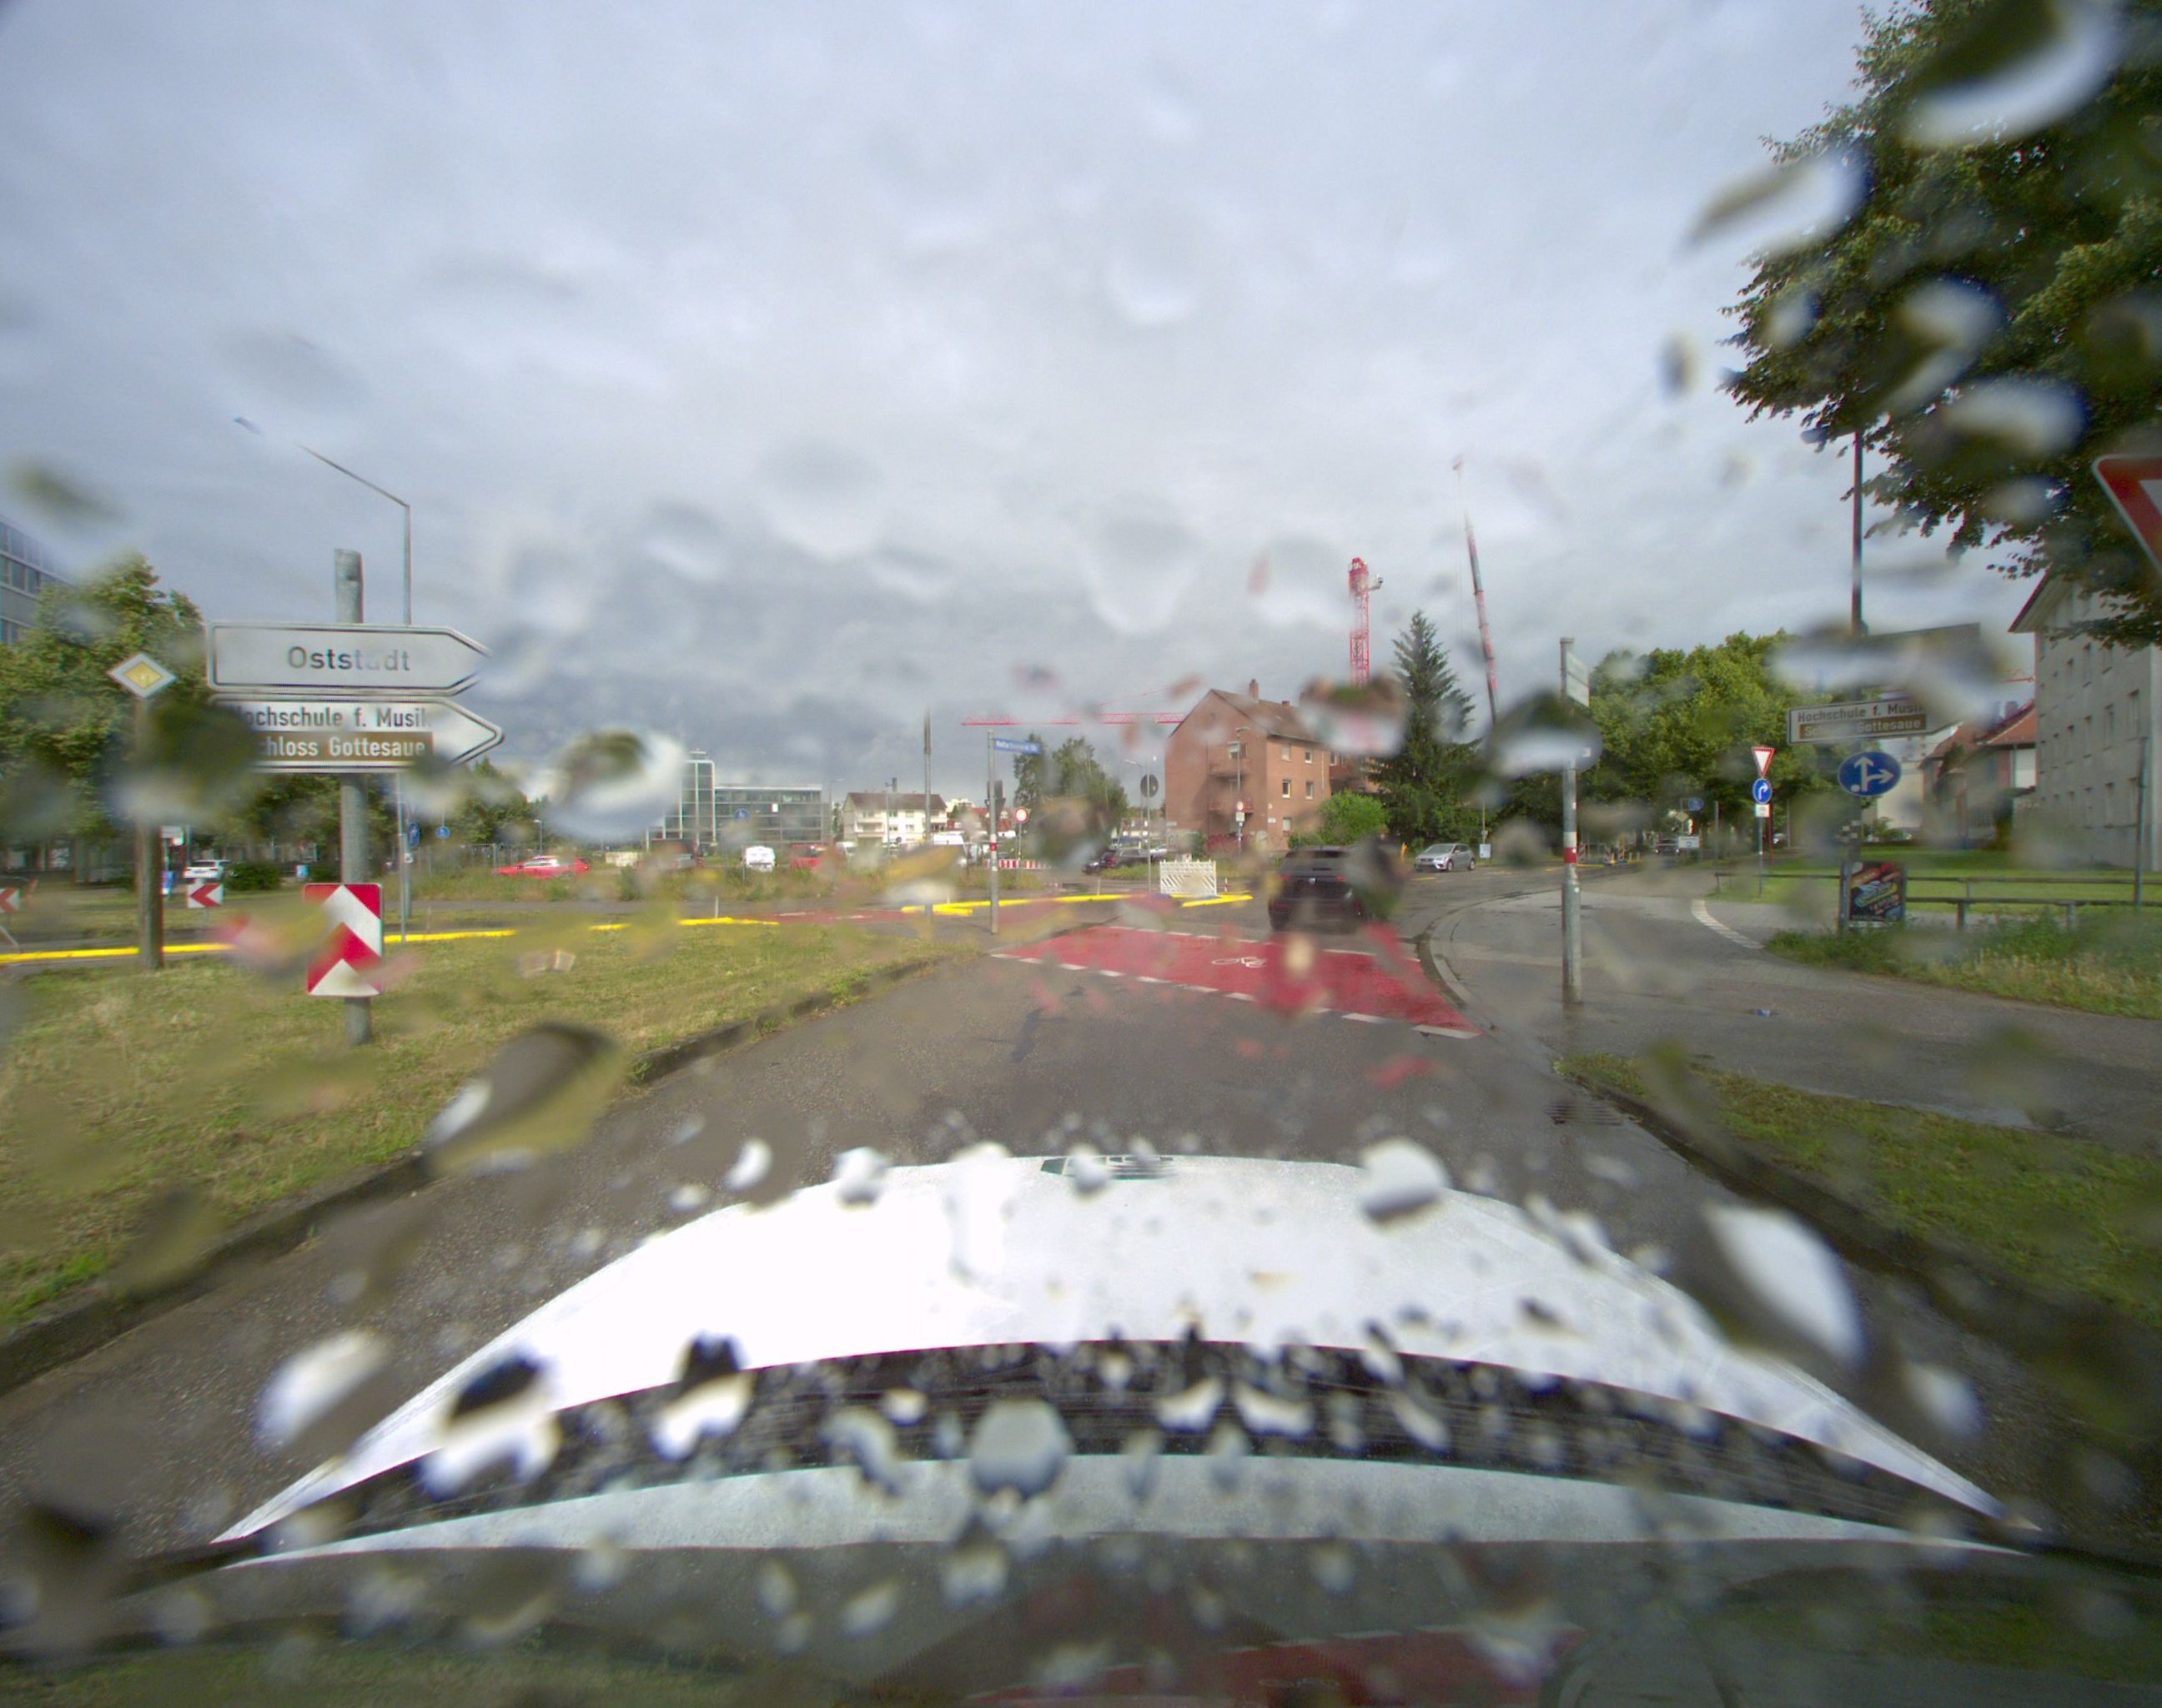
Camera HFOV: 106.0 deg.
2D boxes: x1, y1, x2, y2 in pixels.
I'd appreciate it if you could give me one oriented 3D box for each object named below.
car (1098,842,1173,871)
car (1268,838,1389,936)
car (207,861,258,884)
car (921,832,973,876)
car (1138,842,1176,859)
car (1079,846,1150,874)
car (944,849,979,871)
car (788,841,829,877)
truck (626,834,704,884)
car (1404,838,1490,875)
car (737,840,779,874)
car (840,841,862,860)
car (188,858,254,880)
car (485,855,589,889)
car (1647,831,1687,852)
[{"bbox_3d":[3.174,0.129,47.583,4.050,1.632,1.610,-1,0,-14],"label":"car"},{"bbox_3d":[4.877,0.511,15.676,1.881,1.617,4.022,0,1,22],"label":"car"},{"bbox_3d":[-58.002,1.213,55.724,1.504,1.510,3.467,0,0,-30],"label":"car"},{"bbox_3d":[-7.285,-0.095,43.618,2.041,2.084,6.233,0,3,-16],"label":"car"},{"bbox_3d":[7.231,-0.360,77.645,3.488,1.519,1.621,-1,0,9],"label":"car"},{"bbox_3d":[2.042,0.366,49.937,4.050,1.632,1.610,-1,0,-14],"label":"car"},{"bbox_3d":[-12.034,0.542,81.847,2.008,2.123,3.959,-1,0,-33],"label":"car"},{"bbox_3d":[-14.751,0.212,43.940,1.931,1.699,3.972,-1,3,-21],"label":"car"},{"bbox_3d":[-21.067,0.151,41.548,2.395,2.211,6.068,-1,3,-17],"label":"truck"},{"bbox_3d":[18.742,0.076,41.588,4.722,1.731,2.058,-2,3,-39],"label":"car"},{"bbox_3d":[-18.068,0.134,45.479,1.861,1.699,3.967,-1,3,-26],"label":"car"},{"bbox_3d":[-26.863,-0.426,95.228,2.378,2.084,4.944,0,3,-16],"label":"car"},{"bbox_3d":[-61.087,1.035,57.925,1.497,1.510,3.484,1,-1,-13],"label":"car"},{"bbox_3d":[-27.326,0.880,41.074,4.204,1.510,1.840,-1,3,-30],"label":"car"},{"bbox_3d":[51.116,-1.095,71.025,2.056,1.731,4.726,2,3,45],"label":"car"}]
